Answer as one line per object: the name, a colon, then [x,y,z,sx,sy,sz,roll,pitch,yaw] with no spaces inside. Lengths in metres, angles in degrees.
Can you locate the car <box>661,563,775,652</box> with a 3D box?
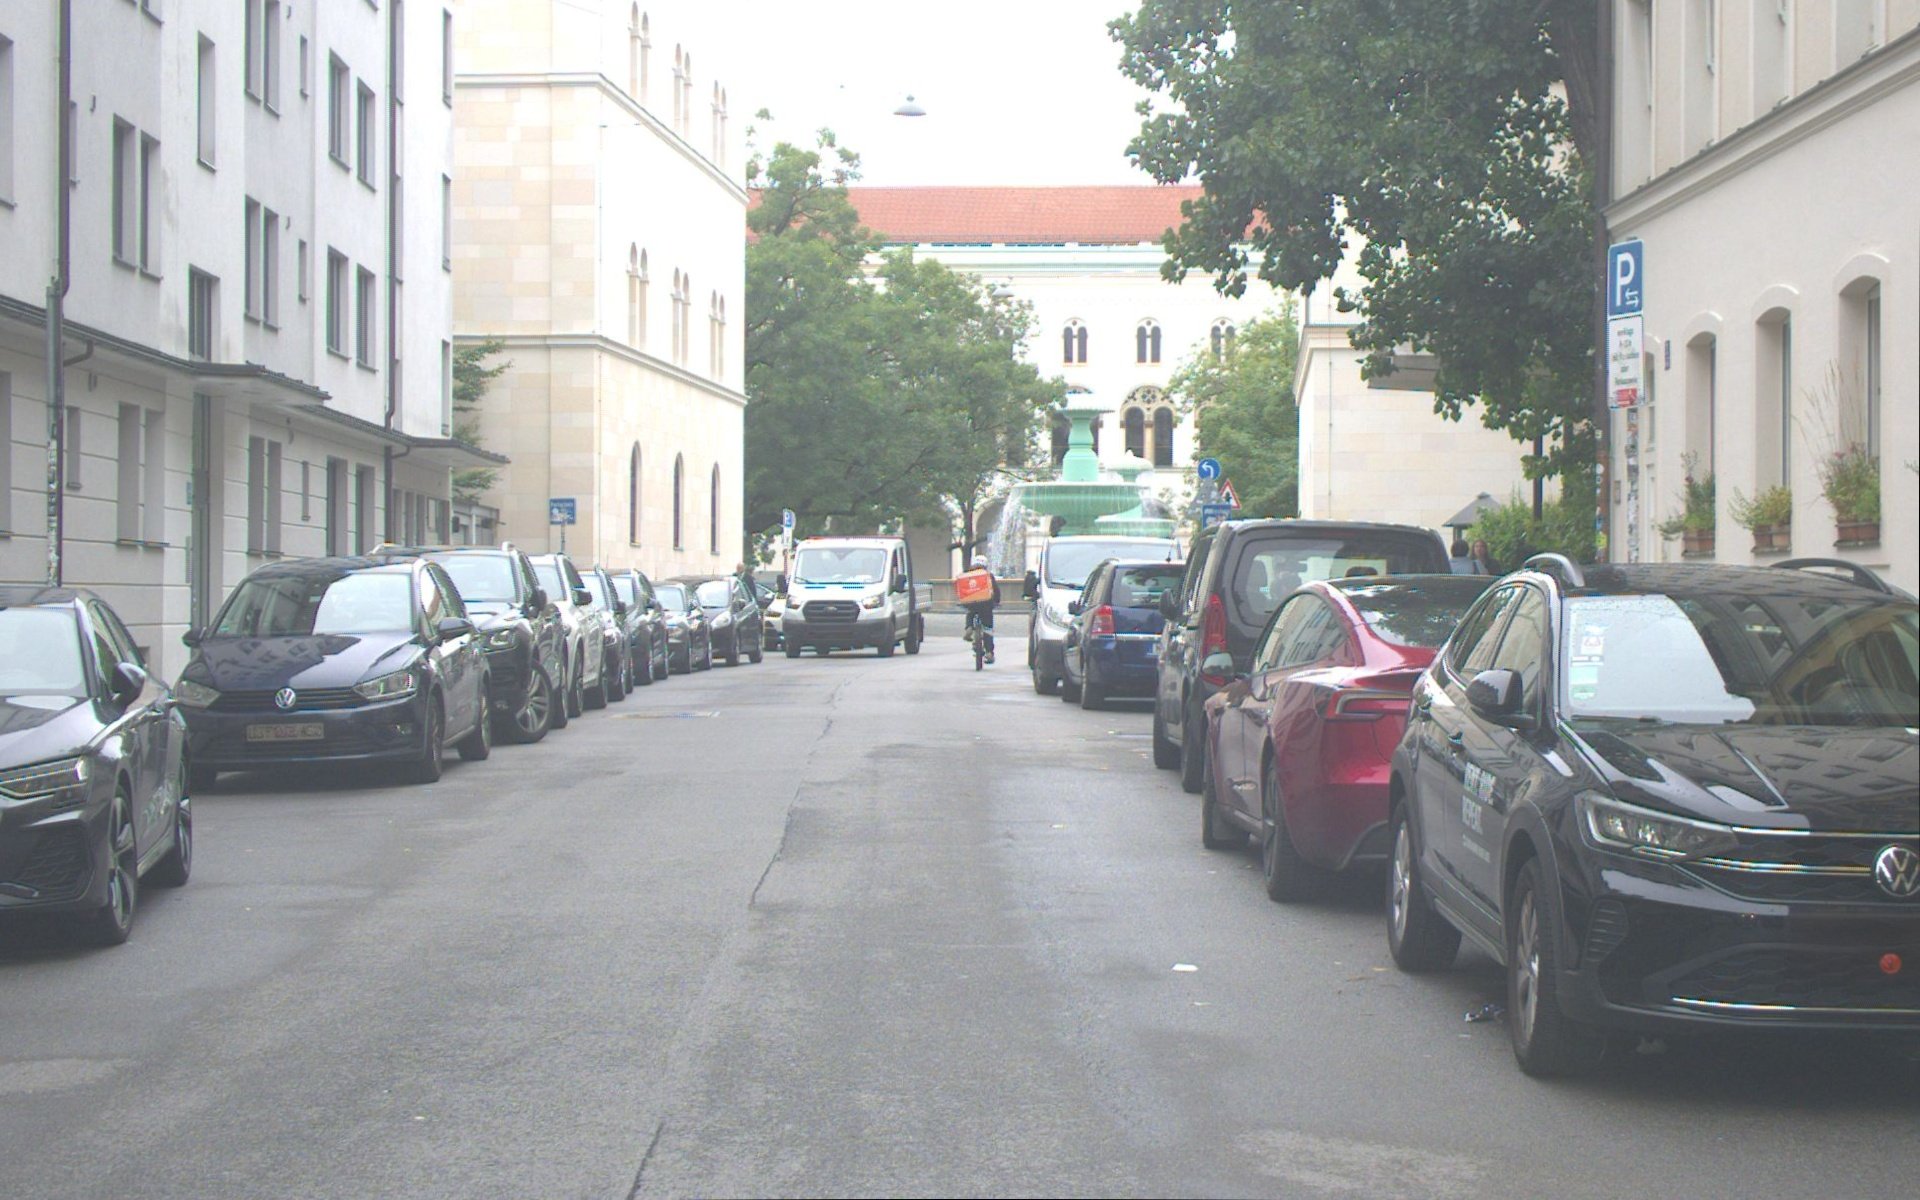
car: [-4.473,0.114,64.033,1.706,1.576,3.863,-1,1,2]

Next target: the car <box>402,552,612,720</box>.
car: [-4.592,0.329,35.298,1.706,1.604,3.863,-1,1,-1]

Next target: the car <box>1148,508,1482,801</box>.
car: [2.325,0.322,23.512,1.812,1.791,4.247,1,0,0]

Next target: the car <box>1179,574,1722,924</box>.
car: [2.180,0.607,16.432,1.811,1.420,4.247,1,0,-2]

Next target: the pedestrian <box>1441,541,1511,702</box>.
pedestrian: [6.477,0.272,43.168,0.669,1.974,0.708,-3,-1,0]

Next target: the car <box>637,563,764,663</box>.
car: [-4.344,0.185,58.055,1.706,1.604,3.863,-1,1,2]

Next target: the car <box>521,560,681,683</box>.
car: [-4.902,0.262,47.396,1.706,1.604,3.863,-1,1,1]

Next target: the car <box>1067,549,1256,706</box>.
car: [2.144,0.267,37.504,1.812,1.609,4.156,0,0,0]

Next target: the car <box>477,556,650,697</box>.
car: [-4.739,0.287,41.548,1.706,1.604,3.863,-1,1,-1]

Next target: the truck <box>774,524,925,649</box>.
truck: [-2.013,-0.229,64.852,2.121,2.240,6.184,0,0,5]

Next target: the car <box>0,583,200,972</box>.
car: [-4.294,0.651,14.548,1.761,1.406,4.157,-1,1,-8]

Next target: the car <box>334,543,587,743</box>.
car: [-4.300,0.332,30.088,1.706,1.604,3.863,-1,1,-1]

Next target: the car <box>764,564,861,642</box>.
car: [-3.089,0.046,72.608,1.706,1.576,3.863,-1,1,2]

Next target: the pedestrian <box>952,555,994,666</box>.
pedestrian: [0.197,0.162,53.239,0.642,1.708,0.843,0,-1,0]

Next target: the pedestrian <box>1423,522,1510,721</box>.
pedestrian: [5.157,0.221,35.003,0.669,1.974,0.708,-3,-1,0]

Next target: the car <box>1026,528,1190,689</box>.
car: [1.812,0.081,43.389,1.852,1.913,4.769,0,0,0]

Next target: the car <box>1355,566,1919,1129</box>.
car: [2.474,0.641,11.148,1.811,1.459,4.247,1,0,-1]

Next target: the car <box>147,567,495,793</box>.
car: [-4.426,0.505,24.349,1.817,1.439,3.818,-1,1,-1]

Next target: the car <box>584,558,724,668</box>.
car: [-4.674,0.175,53.004,1.706,1.604,3.863,-1,1,1]

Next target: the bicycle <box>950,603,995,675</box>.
bicycle: [0.194,0.596,53.190,0.675,1.091,1.760,0,0,0]
